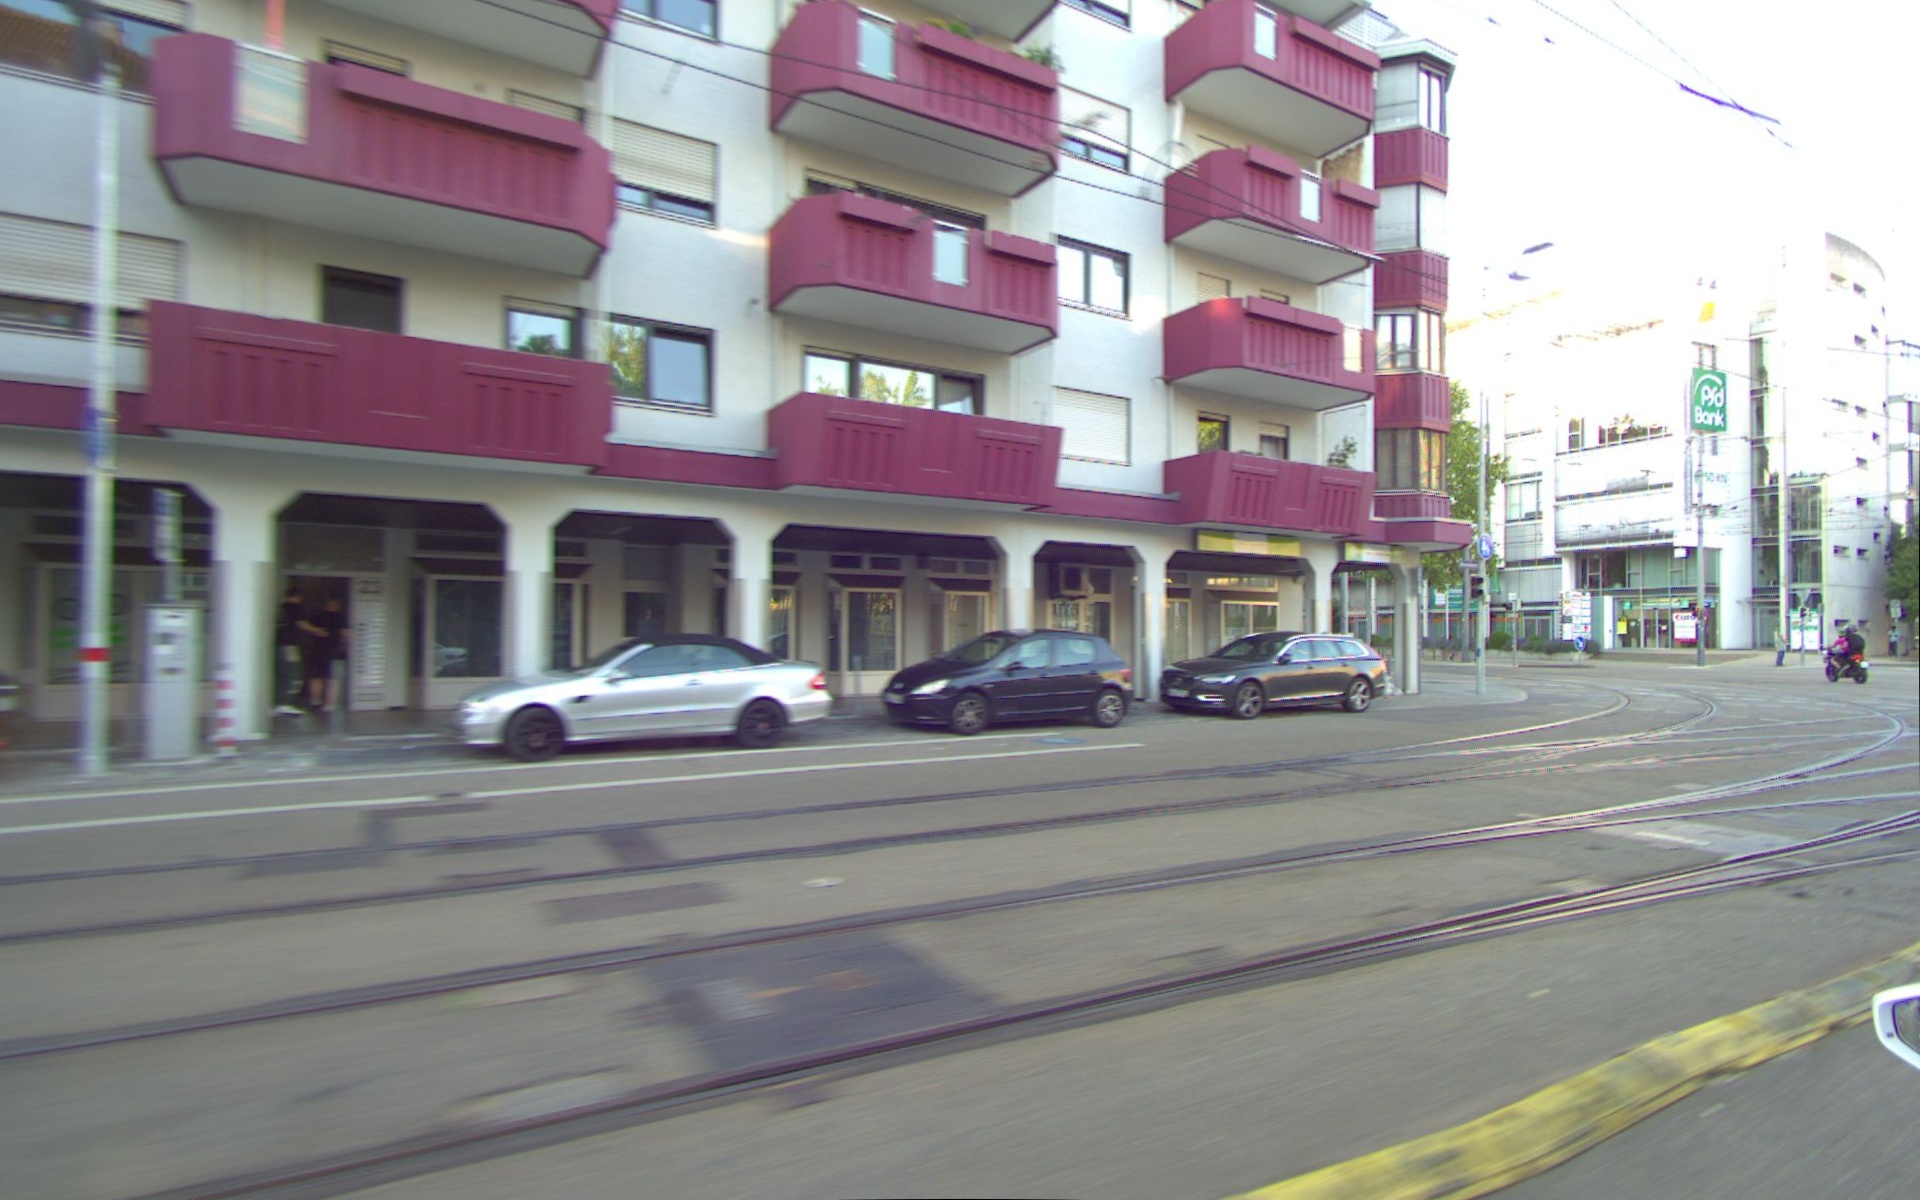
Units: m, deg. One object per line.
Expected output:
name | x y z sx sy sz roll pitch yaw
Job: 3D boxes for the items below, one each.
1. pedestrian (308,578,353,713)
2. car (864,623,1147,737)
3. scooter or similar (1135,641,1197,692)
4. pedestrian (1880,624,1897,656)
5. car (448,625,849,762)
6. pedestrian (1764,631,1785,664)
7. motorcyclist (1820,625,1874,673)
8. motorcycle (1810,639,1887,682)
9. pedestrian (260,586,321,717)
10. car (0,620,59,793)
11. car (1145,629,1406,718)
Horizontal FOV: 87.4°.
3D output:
pedestrian | -9.754 0.699 15.559 0.522 2.040 0.520 1 -2 -36
car | 0.764 1.177 15.781 4.151 1.528 1.779 2 0 -31
scooter or similar | 4.922 1.579 23.994 1.462 1.181 0.546 1 -2 -31
pedestrian | 56.958 2.440 61.613 0.542 1.947 0.657 1 -2 -35
car | -3.880 1.083 12.755 4.620 1.432 1.684 2 0 -29
pedestrian | 43.627 2.531 53.805 0.649 1.733 0.547 1 -1 -14
motorcyclist | 27.825 1.523 31.521 0.814 1.493 1.207 0 -2 16
motorcycle | 27.829 1.867 31.531 0.814 1.256 2.492 0 -2 16
pedestrian | -9.953 0.758 14.957 0.518 1.897 0.615 0 -1 -10
car | -10.988 0.930 8.699 4.434 1.499 1.982 2 0 -33
car | 6.007 1.318 18.935 5.027 1.476 1.843 2 -2 -31
